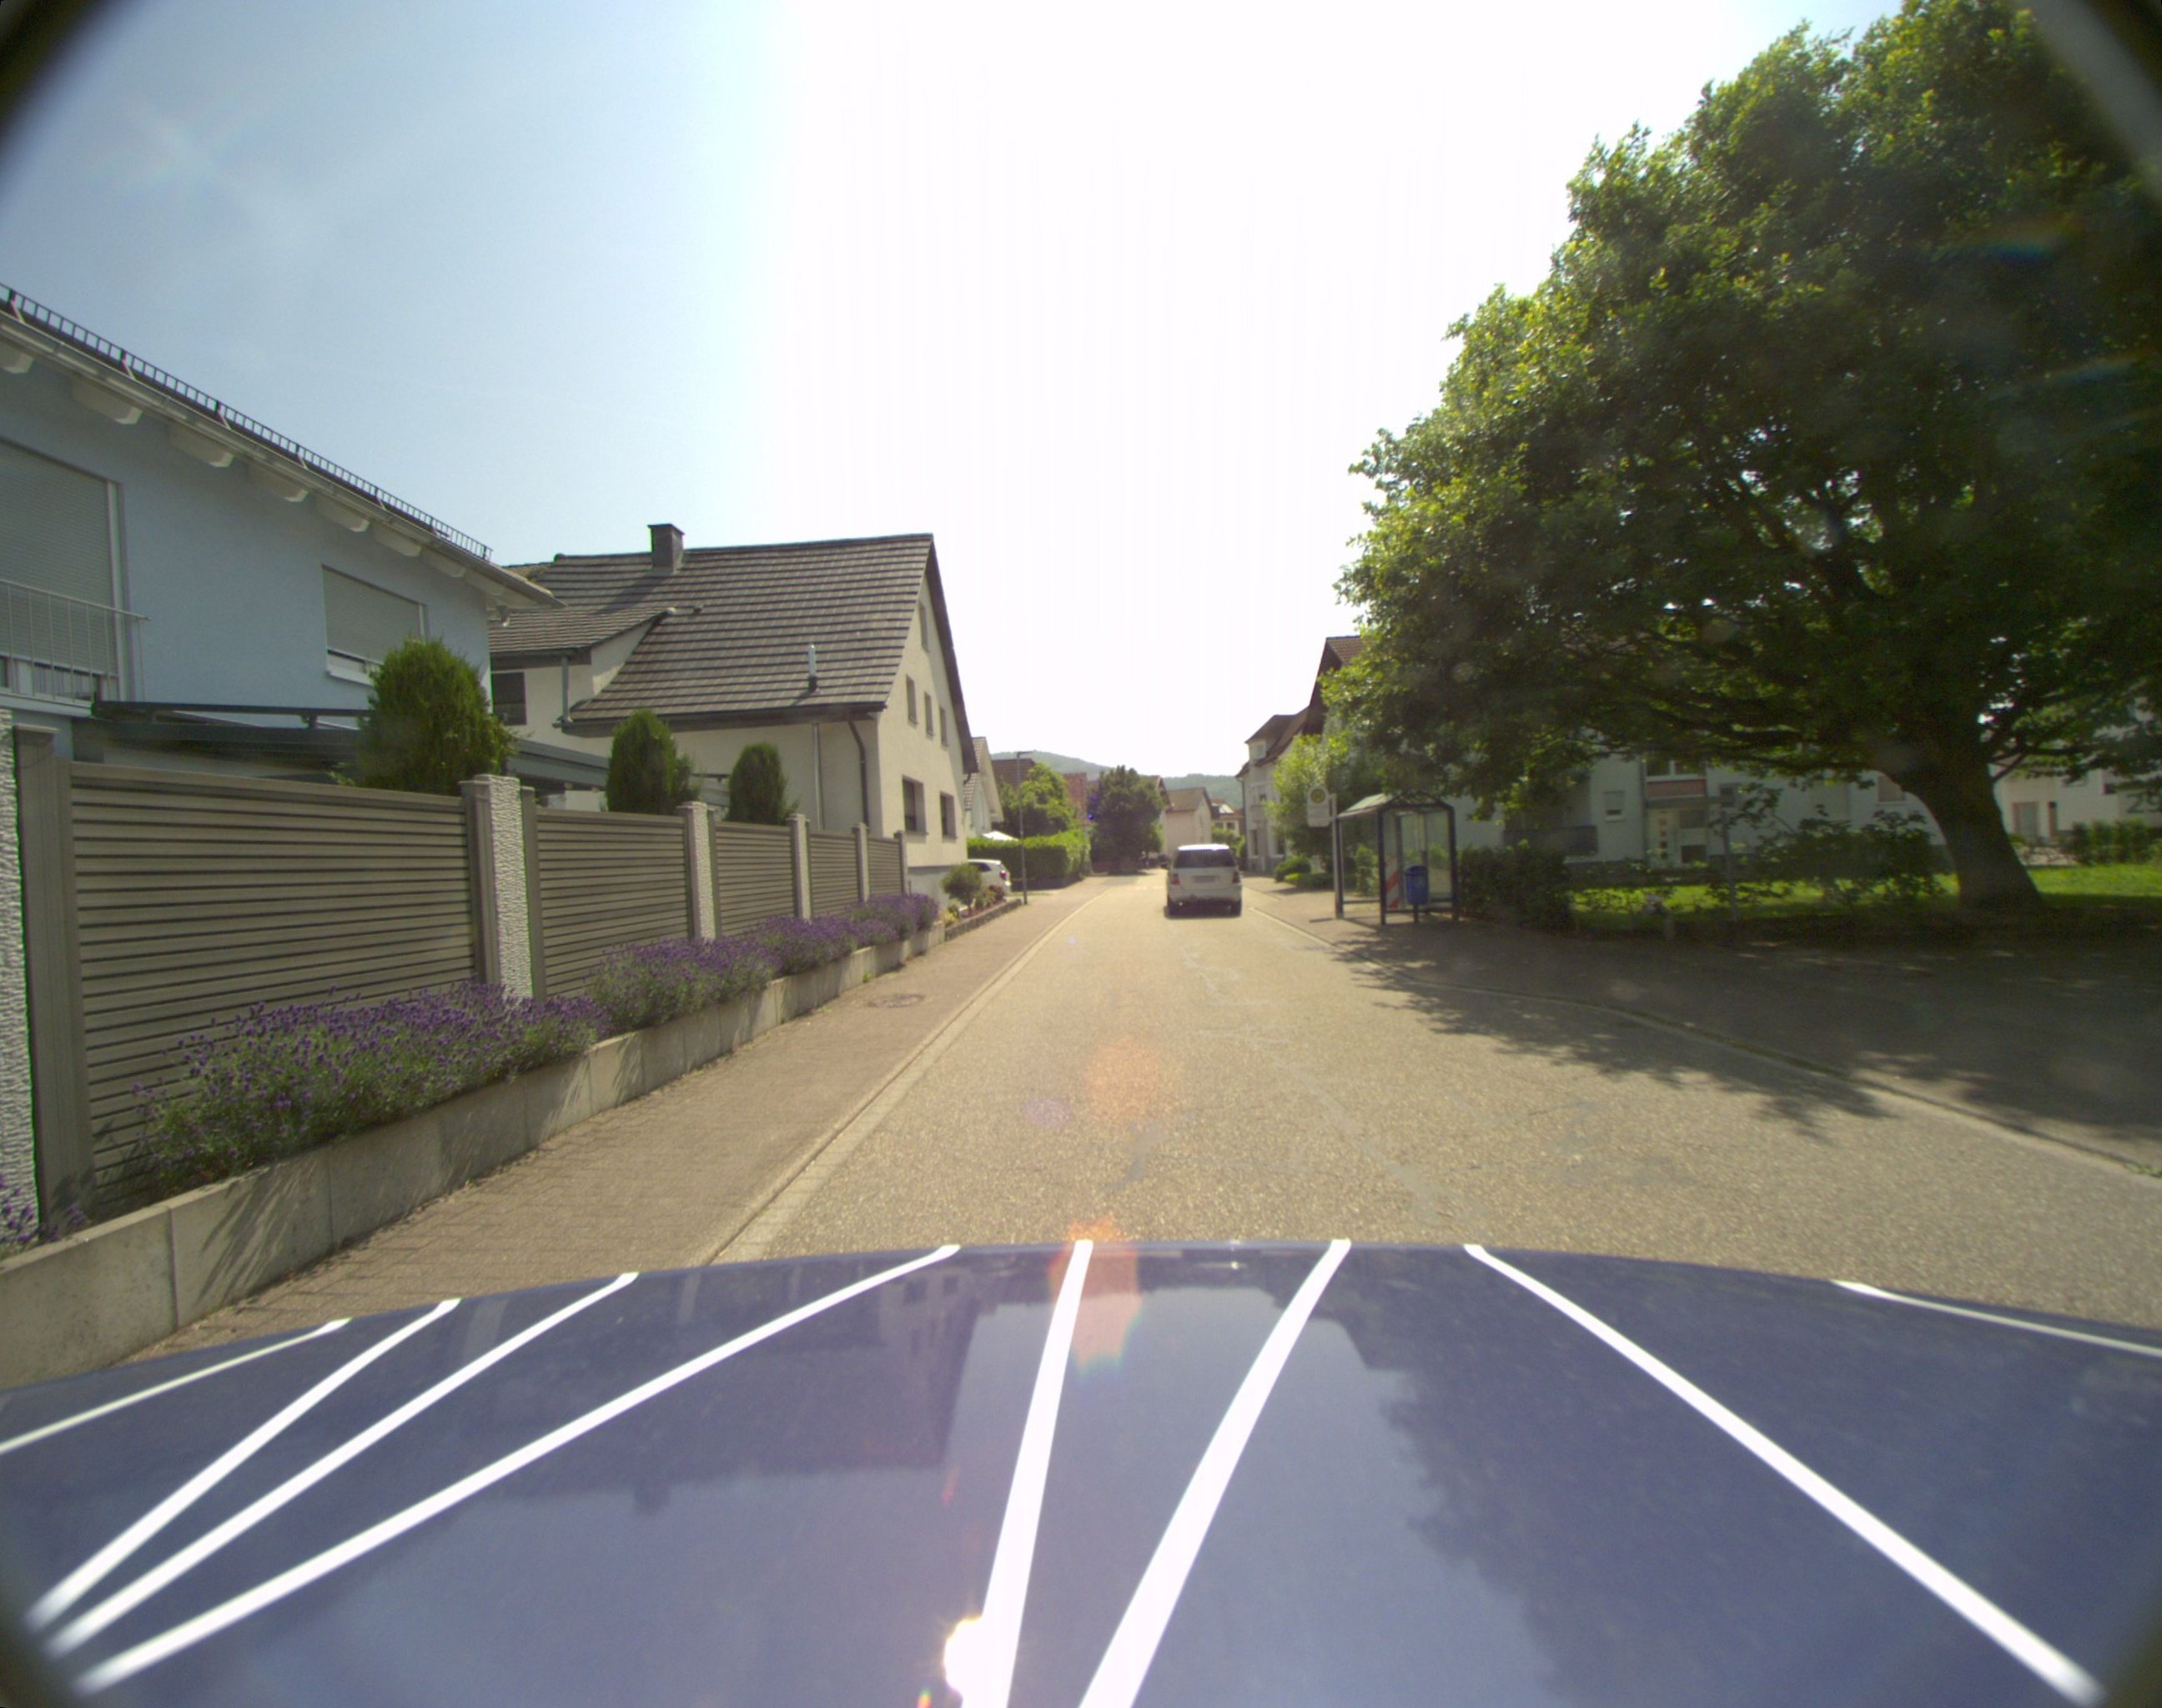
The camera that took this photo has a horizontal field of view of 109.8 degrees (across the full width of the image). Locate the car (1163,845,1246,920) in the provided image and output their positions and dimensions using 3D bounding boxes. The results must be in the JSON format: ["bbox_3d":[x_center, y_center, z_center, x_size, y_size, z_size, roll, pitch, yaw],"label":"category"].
[{"bbox_3d":[3.201,0.683,20.427,1.889,1.756,4.332,-1,0,5],"label":"car"}]

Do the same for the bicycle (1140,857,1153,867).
[{"bbox_3d":[6.067,0.752,69.999,0.520,0.899,1.315,-2,1,37],"label":"bicycle"}]

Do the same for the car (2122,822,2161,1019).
[{"bbox_3d":[10.407,0.465,5.145,4.170,1.529,1.774,-1,0,2],"label":"car"}]

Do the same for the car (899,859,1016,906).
[{"bbox_3d":[-4.142,0.952,25.925,3.667,1.465,1.765,-1,-1,-1],"label":"car"}]

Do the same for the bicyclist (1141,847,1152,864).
[{"bbox_3d":[6.040,0.126,69.999,0.546,1.481,0.798,-2,1,36],"label":"bicyclist"}]
